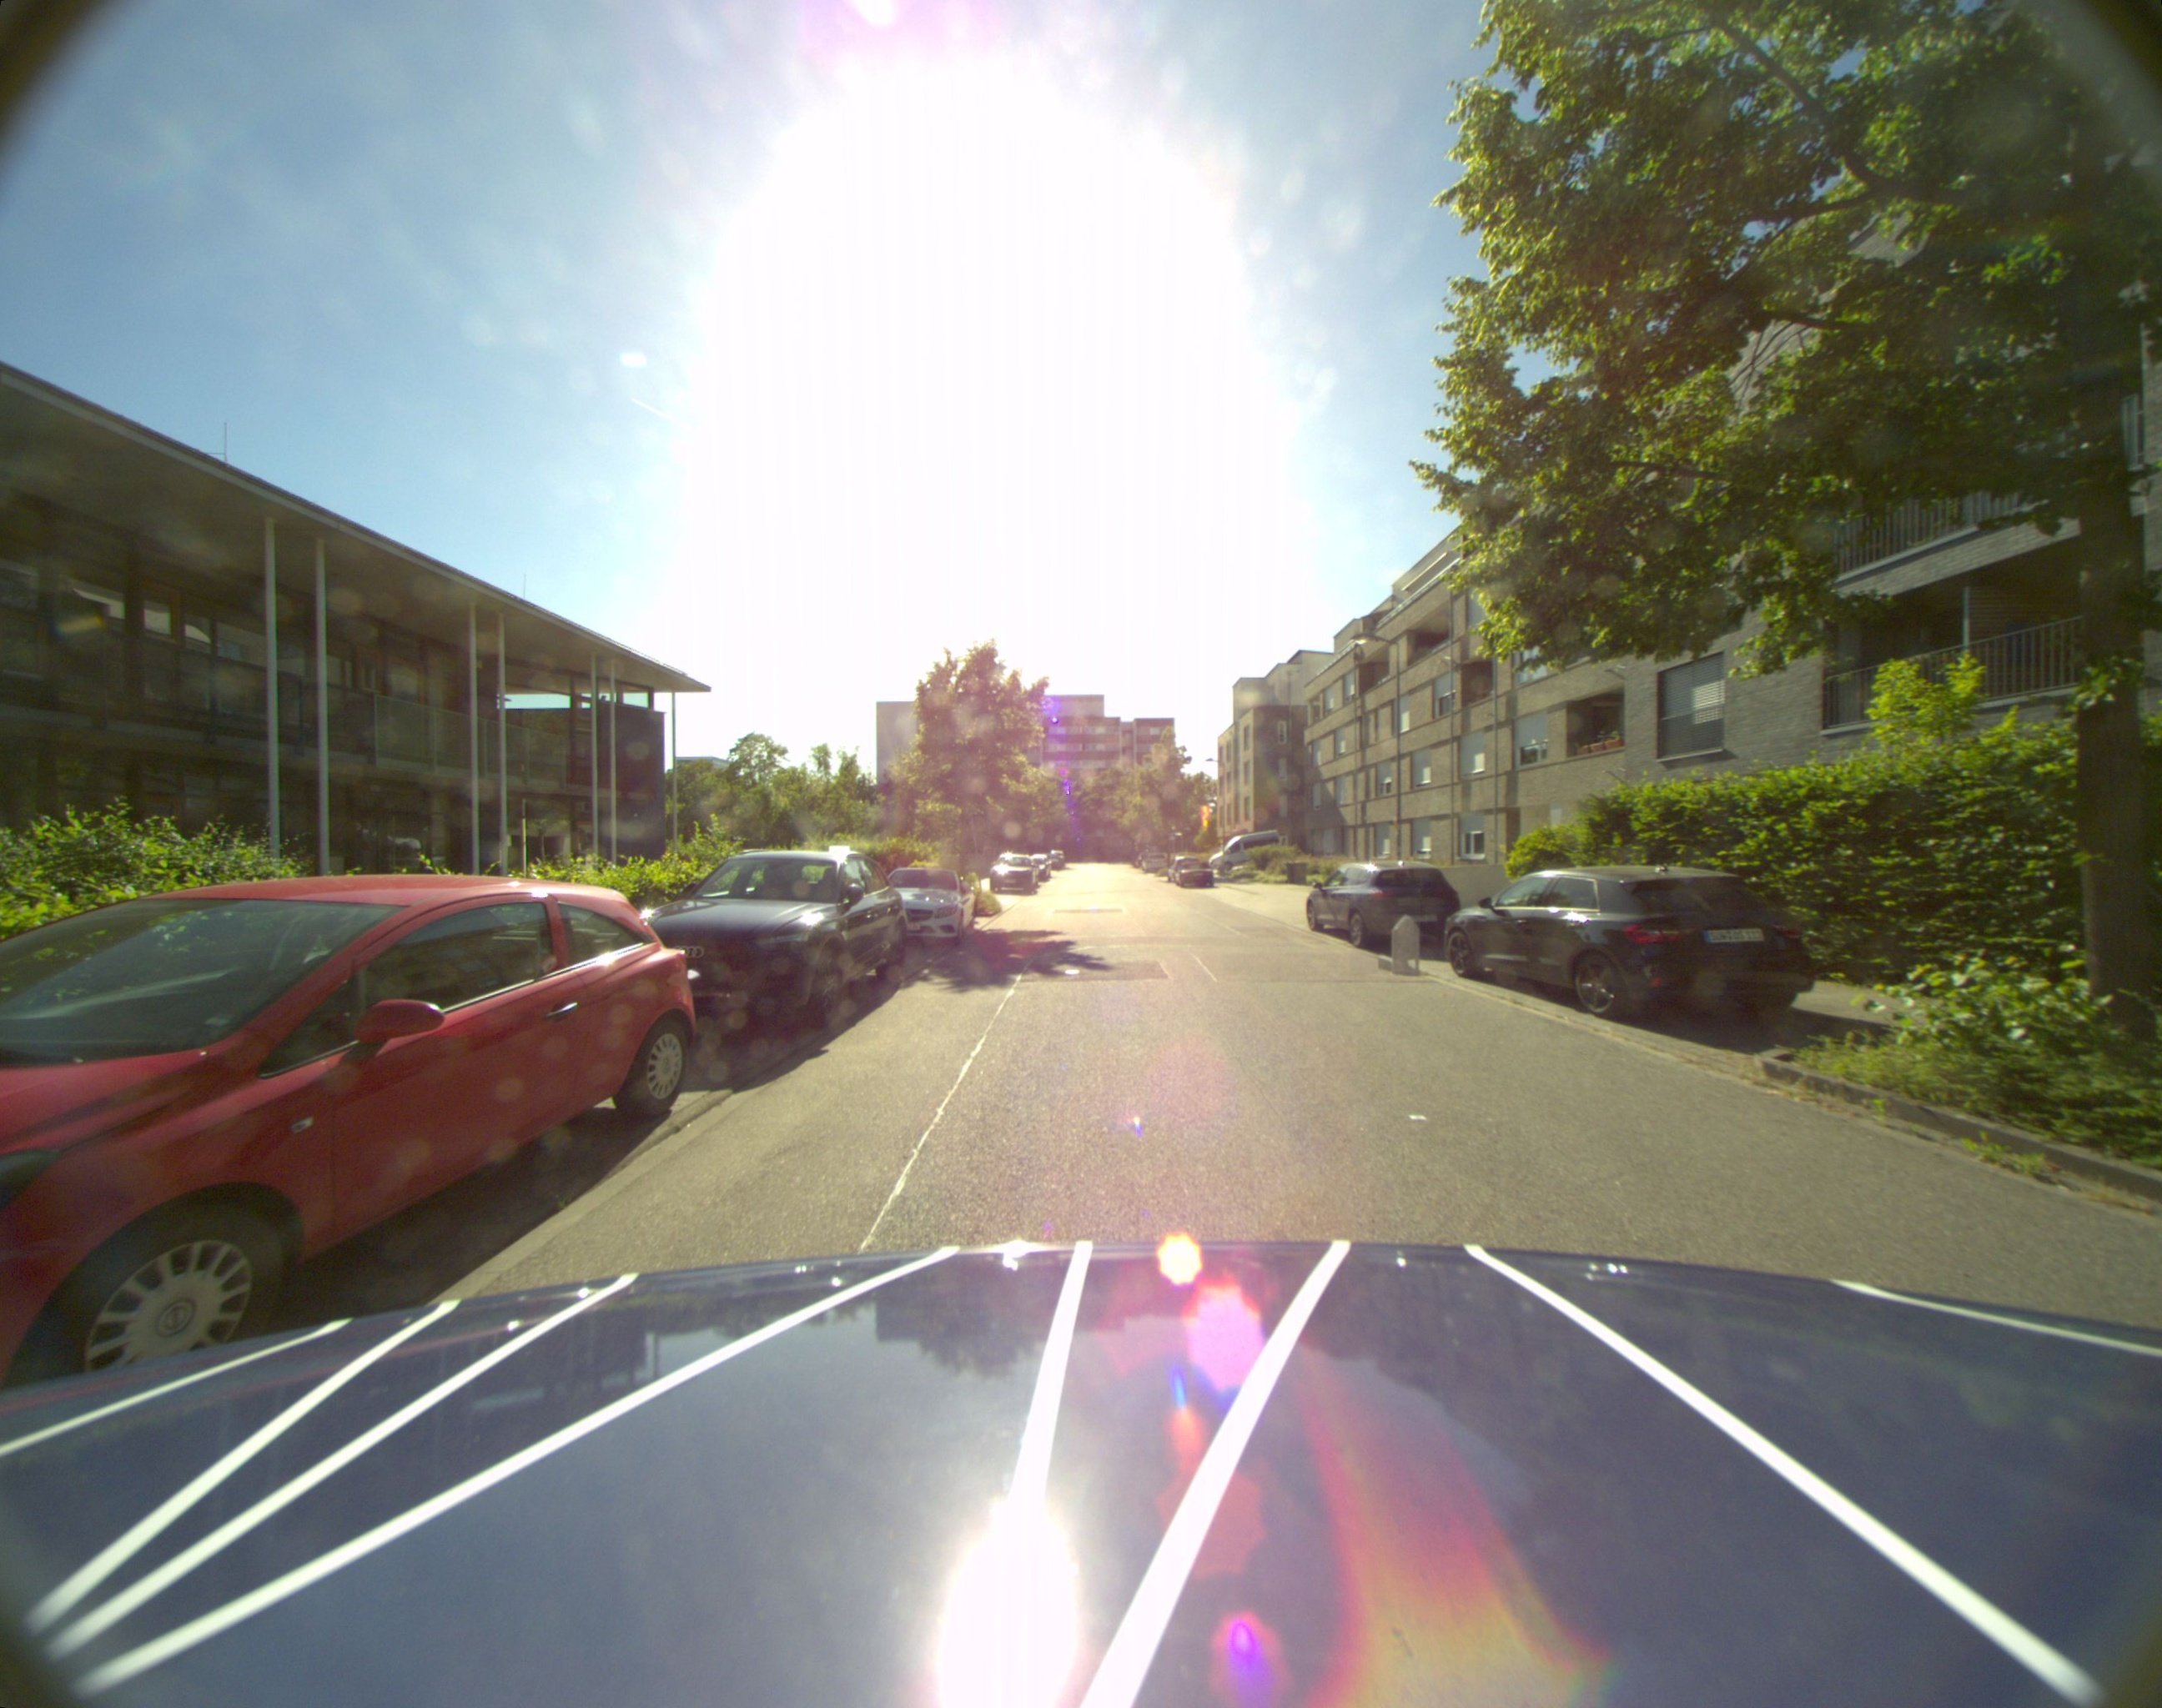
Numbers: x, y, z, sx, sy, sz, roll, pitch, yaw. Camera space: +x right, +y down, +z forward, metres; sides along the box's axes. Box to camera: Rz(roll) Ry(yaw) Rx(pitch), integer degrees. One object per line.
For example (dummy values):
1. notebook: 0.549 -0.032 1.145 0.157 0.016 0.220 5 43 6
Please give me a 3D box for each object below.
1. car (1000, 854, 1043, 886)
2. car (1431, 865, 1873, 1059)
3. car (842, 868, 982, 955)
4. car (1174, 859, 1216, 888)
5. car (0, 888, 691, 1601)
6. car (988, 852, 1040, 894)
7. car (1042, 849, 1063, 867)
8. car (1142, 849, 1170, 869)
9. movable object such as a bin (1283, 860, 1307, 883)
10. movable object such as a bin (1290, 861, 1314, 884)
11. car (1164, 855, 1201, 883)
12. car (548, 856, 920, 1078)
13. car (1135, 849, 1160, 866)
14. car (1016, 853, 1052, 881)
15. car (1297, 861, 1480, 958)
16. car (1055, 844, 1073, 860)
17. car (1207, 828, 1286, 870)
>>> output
1. car: -3.037 0.800 39.258 1.823 1.458 3.842 3 1 0
2. car: 5.718 0.940 8.388 1.845 1.465 4.027 -2 0 0
3. car: -3.224 1.044 15.510 1.968 1.312 4.774 2 0 -3
4. car: 5.679 0.954 38.246 1.631 1.240 3.562 -3 0 1
5. car: -3.372 0.989 3.013 1.679 1.495 3.846 0 0 0
6. car: -2.905 0.766 33.837 1.823 1.638 4.488 3 1 0
7. car: -2.519 0.352 67.814 1.645 1.458 3.702 3 2 0
8. car: 6.249 0.400 63.420 1.795 1.590 3.889 -2 1 -2
9. movable object such as a bin: 10.215 0.846 36.268 0.921 1.032 0.681 -3 1 -2
10. movable object such as a bin: 10.337 0.849 35.502 0.862 1.032 0.677 -3 1 -2
11. car: 5.773 0.809 43.548 1.631 1.515 3.562 0 0 0
12. car: -3.233 0.902 8.234 1.905 1.673 4.411 1 1 1
13. car: 6.302 0.321 72.306 1.795 1.509 3.889 -2 1 -2
14. car: -2.806 0.763 45.893 1.823 1.458 3.841 3 2 0
15. car: 5.652 0.937 14.576 1.845 1.465 4.099 -2 0 0
16. car: -1.769 -0.210 79.728 1.645 1.458 3.702 3 2 0
17. car: 11.791 -0.367 54.360 5.153 2.886 2.013 0 1 -3
